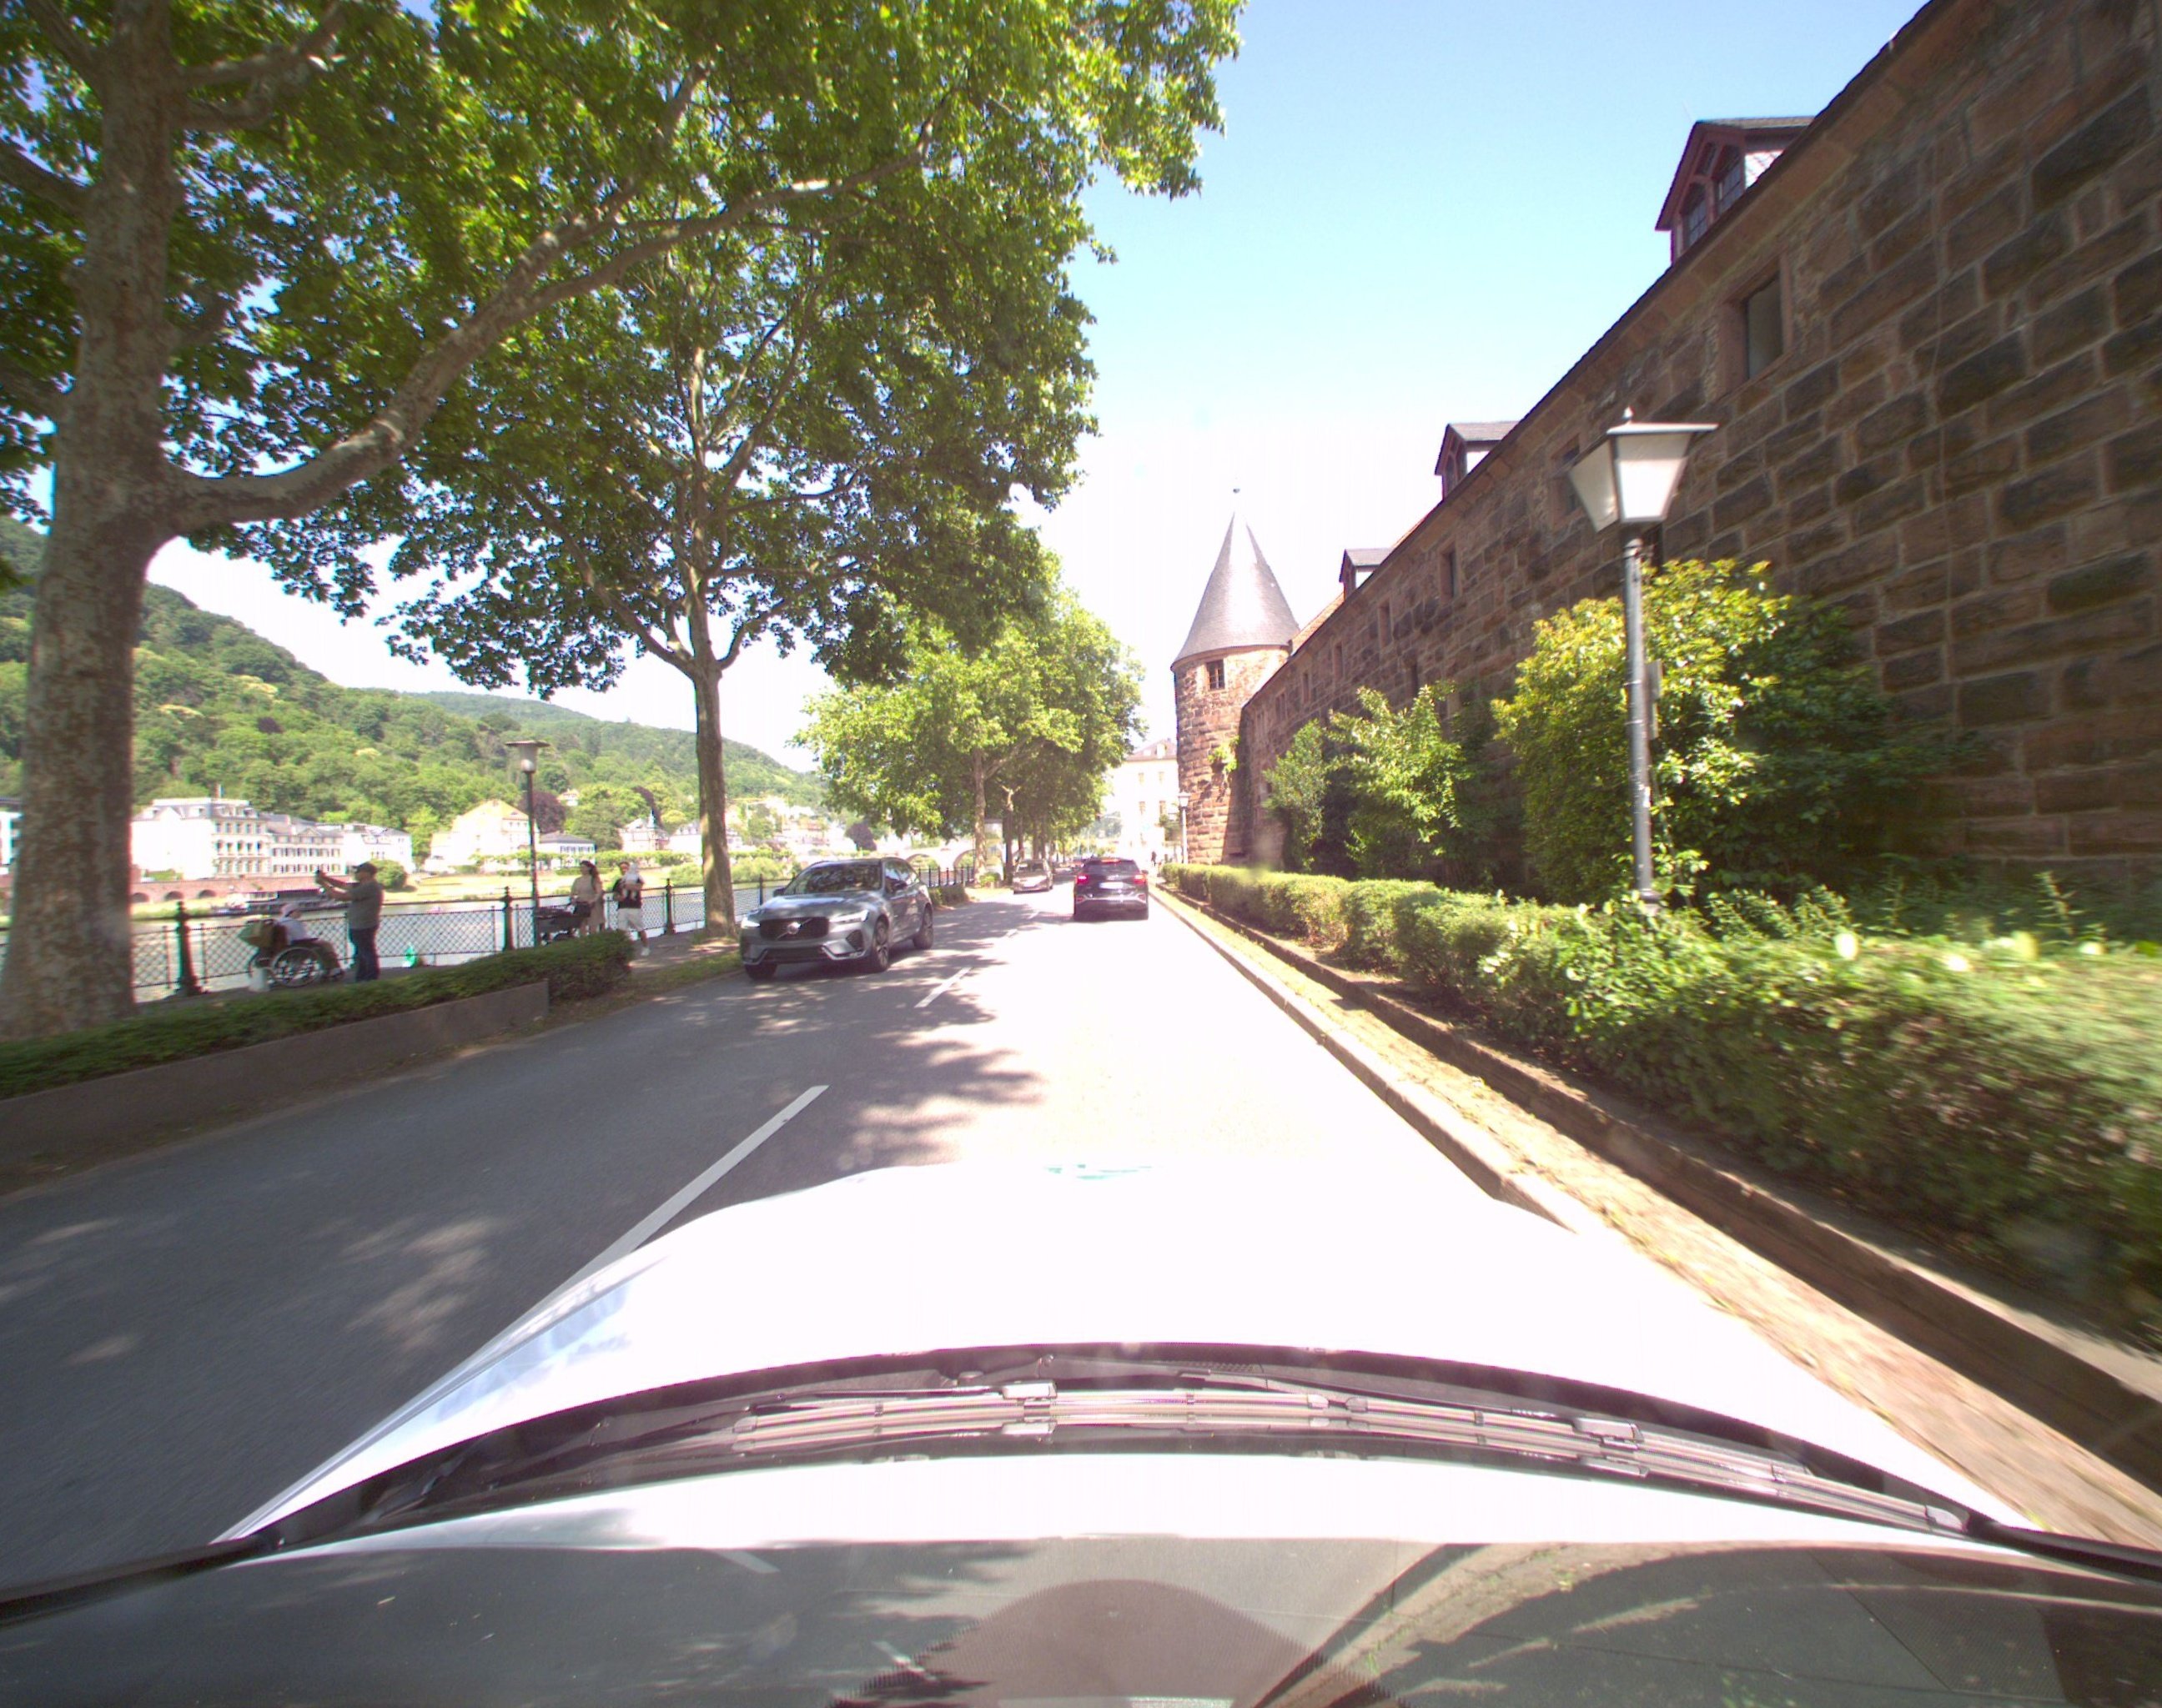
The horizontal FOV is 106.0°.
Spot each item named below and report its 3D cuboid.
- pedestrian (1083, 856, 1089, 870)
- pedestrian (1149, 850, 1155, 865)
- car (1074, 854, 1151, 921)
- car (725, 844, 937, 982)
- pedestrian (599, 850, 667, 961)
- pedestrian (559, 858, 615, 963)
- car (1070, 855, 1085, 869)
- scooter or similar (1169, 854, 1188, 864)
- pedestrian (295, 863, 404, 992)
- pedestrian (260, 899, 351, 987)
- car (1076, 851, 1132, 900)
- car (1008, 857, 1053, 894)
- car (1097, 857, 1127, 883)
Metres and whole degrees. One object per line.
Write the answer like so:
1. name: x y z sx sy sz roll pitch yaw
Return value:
1. pedestrian: 0.555 1.015 94.433 0.516 1.638 0.438 -3 -1 -6
2. pedestrian: 7.437 0.376 84.954 0.555 1.633 0.660 -1 -1 3
3. car: 0.742 0.768 20.272 1.742 1.494 3.629 0 0 1
4. car: -3.649 0.778 12.796 1.870 1.698 4.259 -3 0 1
5. pedestrian: -7.926 0.891 14.437 0.638 1.870 0.806 -3 0 2
6. pedestrian: -8.541 0.959 14.103 0.515 1.768 0.592 -3 0 2
7. car: -0.424 0.971 101.216 1.608 1.523 3.480 -3 0 4
8. scooter or similar: 9.310 0.514 77.702 1.838 0.963 0.429 0 -1 1
9. pedestrian: -10.136 0.981 11.312 0.691 1.717 0.874 0 -1 0
10. pedestrian: -11.387 1.288 11.973 0.607 1.177 0.696 -3 -1 3
11. car: 0.853 0.740 29.437 1.794 1.562 3.718 -3 0 2
12. car: -2.469 1.015 40.488 1.757 1.647 4.091 -3 0 2
13. car: 1.966 1.002 51.971 1.794 1.523 3.718 -2 0 2
